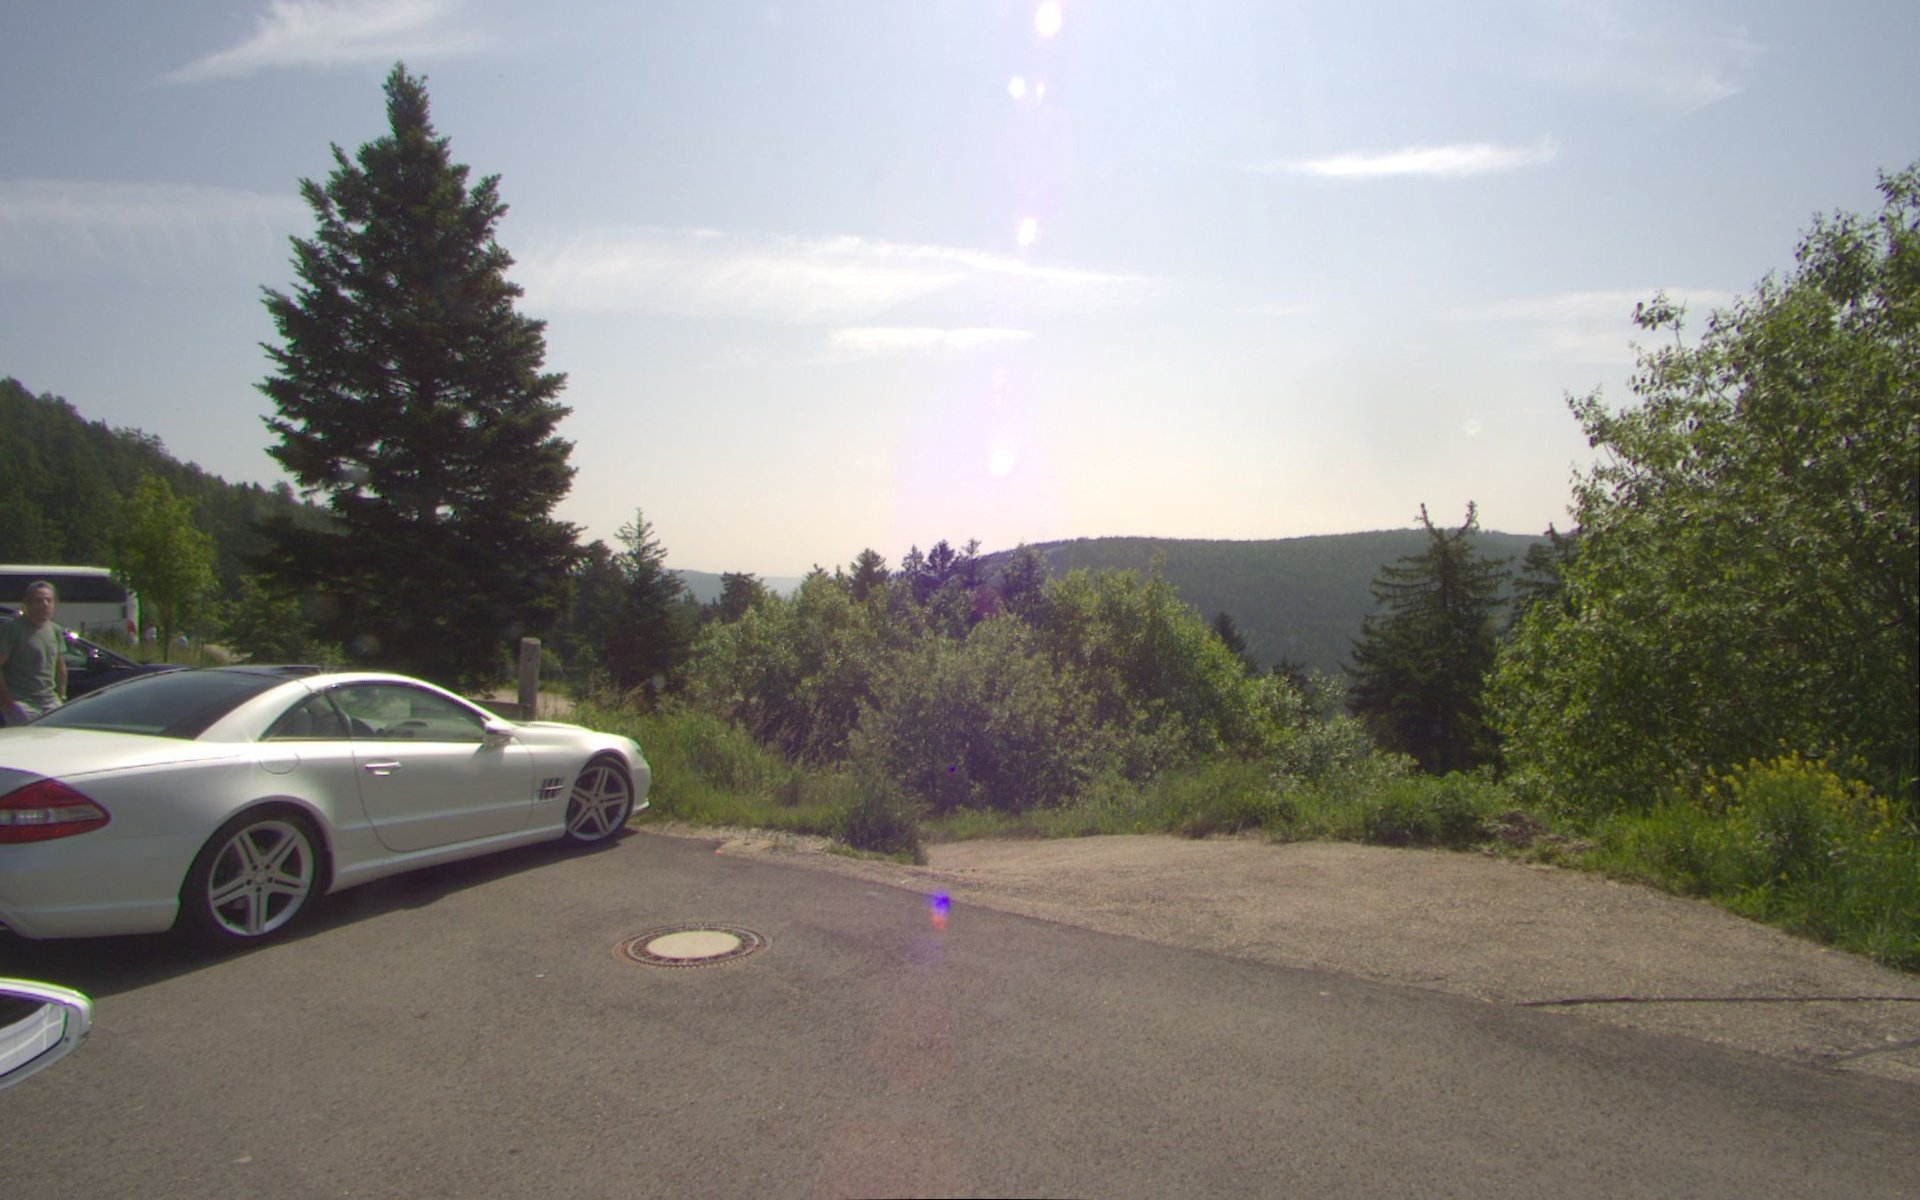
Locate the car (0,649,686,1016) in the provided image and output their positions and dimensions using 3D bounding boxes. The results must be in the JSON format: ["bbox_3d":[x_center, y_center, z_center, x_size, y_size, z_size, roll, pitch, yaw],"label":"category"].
[{"bbox_3d":[-3.686,0.983,6.118,1.724,1.312,4.408,1,-2,18],"label":"car"}]

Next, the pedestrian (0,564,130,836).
[{"bbox_3d":[-6.604,0.686,7.138,0.722,1.823,0.748,0,-1,9],"label":"pedestrian"}]

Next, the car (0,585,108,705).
[{"bbox_3d":[-15.383,0.659,14.135,1.924,1.718,4.921,0,0,43],"label":"car"}]

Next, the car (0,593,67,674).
[{"bbox_3d":[-21.505,0.719,20.176,2.024,1.673,5.009,0,1,41],"label":"car"}]

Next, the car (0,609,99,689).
[{"bbox_3d":[-17.098,0.839,16.480,1.817,1.286,4.223,0,0,41],"label":"car"}]

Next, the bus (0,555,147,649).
[{"bbox_3d":[-39.212,0.100,37.922,12.984,3.580,3.018,-1,1,-39],"label":"bus"}]

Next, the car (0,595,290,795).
[{"bbox_3d":[-8.699,0.799,8.749,1.845,1.646,4.334,-1,-4,35],"label":"car"}]

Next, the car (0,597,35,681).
[{"bbox_3d":[-19.707,0.757,18.078,1.817,1.574,4.223,0,1,41],"label":"car"}]

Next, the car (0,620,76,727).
[{"bbox_3d":[-13.860,0.916,12.408,1.679,1.394,4.072,0,-2,34],"label":"car"}]
